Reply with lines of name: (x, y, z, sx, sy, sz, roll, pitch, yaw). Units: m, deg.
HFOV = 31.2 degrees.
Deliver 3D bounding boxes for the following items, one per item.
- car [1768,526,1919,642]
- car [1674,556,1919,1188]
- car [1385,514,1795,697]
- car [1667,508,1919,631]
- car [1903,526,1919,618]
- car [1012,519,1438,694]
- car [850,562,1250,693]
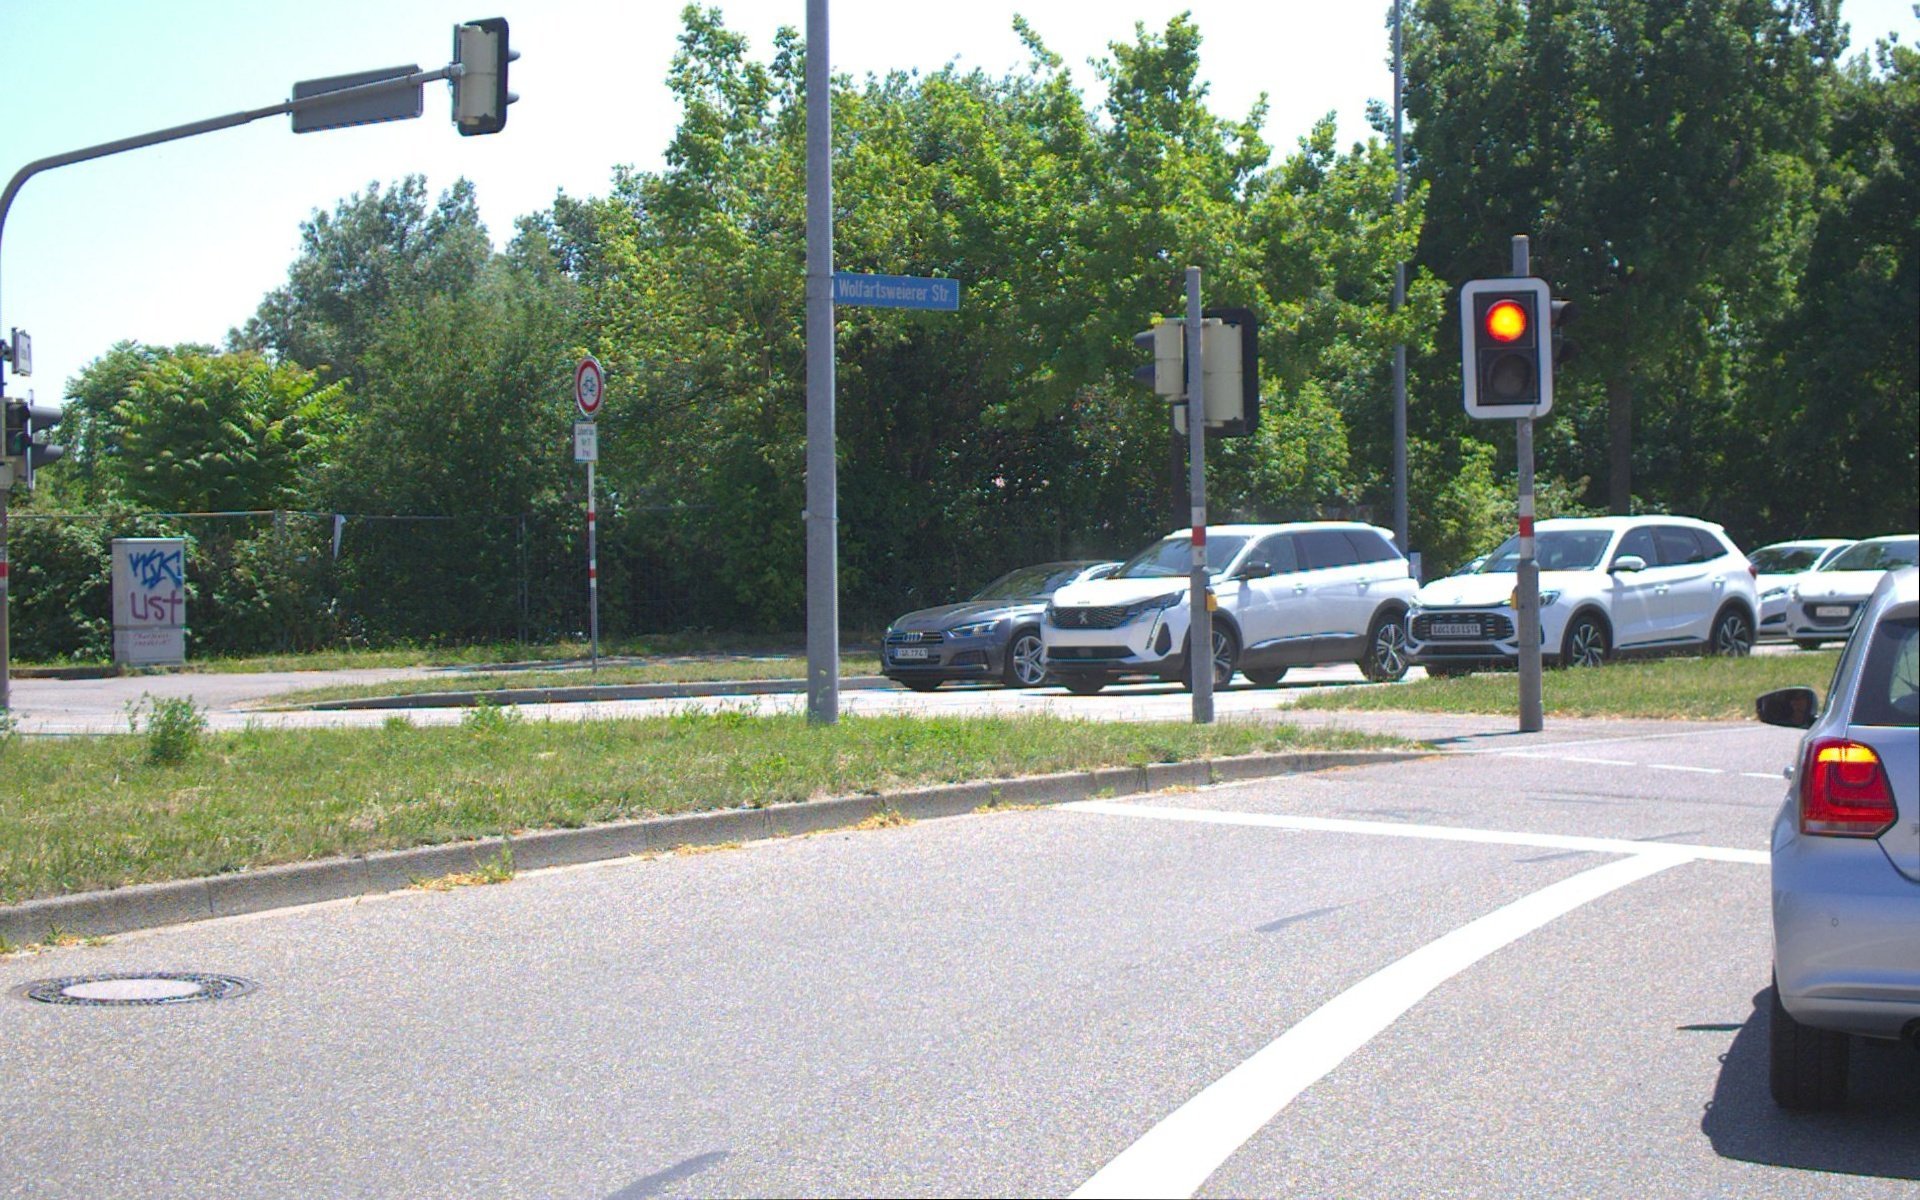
car: (12.529, -0.246, 44.868, 1.863, 1.417, 4.397, 1, 2, 44)
car: (3.095, 0.614, 9.966, 1.777, 1.417, 3.999, 0, 2, 9)
car: (6.316, 0.005, 34.151, 1.863, 1.677, 4.397, 1, 2, 44)
car: (12.114, -0.469, 49.135, 1.863, 1.677, 4.397, 1, 2, 44)
car: (16.779, -0.473, 54.073, 1.863, 1.417, 4.397, 1, 2, 44)
car: (2.714, 0.012, 34.448, 1.863, 1.612, 4.397, 1, 2, 44)
car: (1.036, 0.255, 37.436, 1.863, 1.266, 4.397, 1, 2, 44)
